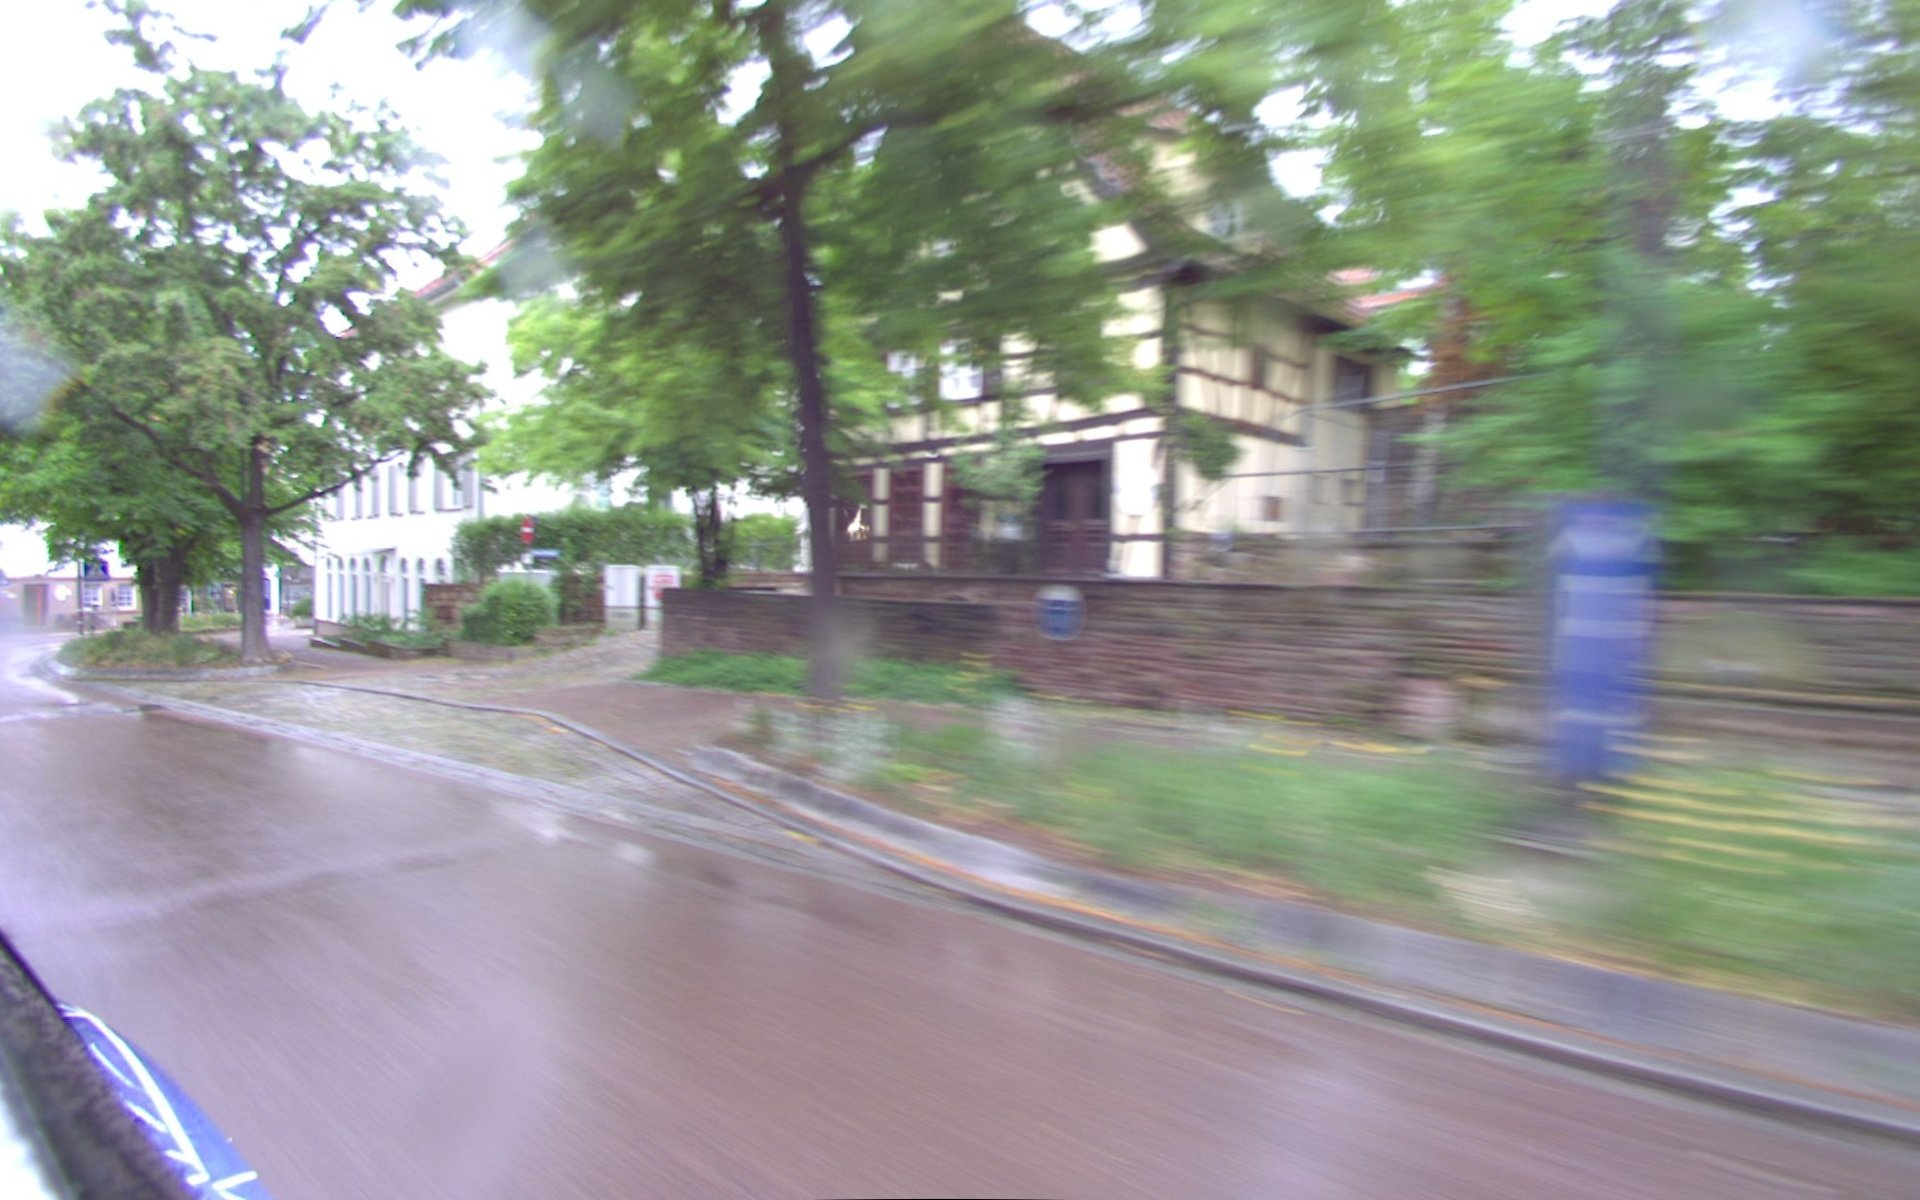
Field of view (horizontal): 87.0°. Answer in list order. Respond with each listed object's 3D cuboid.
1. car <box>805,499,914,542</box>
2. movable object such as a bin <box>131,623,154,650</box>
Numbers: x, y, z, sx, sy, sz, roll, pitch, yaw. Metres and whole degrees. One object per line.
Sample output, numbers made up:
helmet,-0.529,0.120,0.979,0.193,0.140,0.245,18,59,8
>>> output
car,-3.629,-2.852,36.540,3.628,1.353,1.600,0,6,31
movable object such as a bin,-33.953,1.509,42.042,0.625,1.067,0.700,1,0,-30
